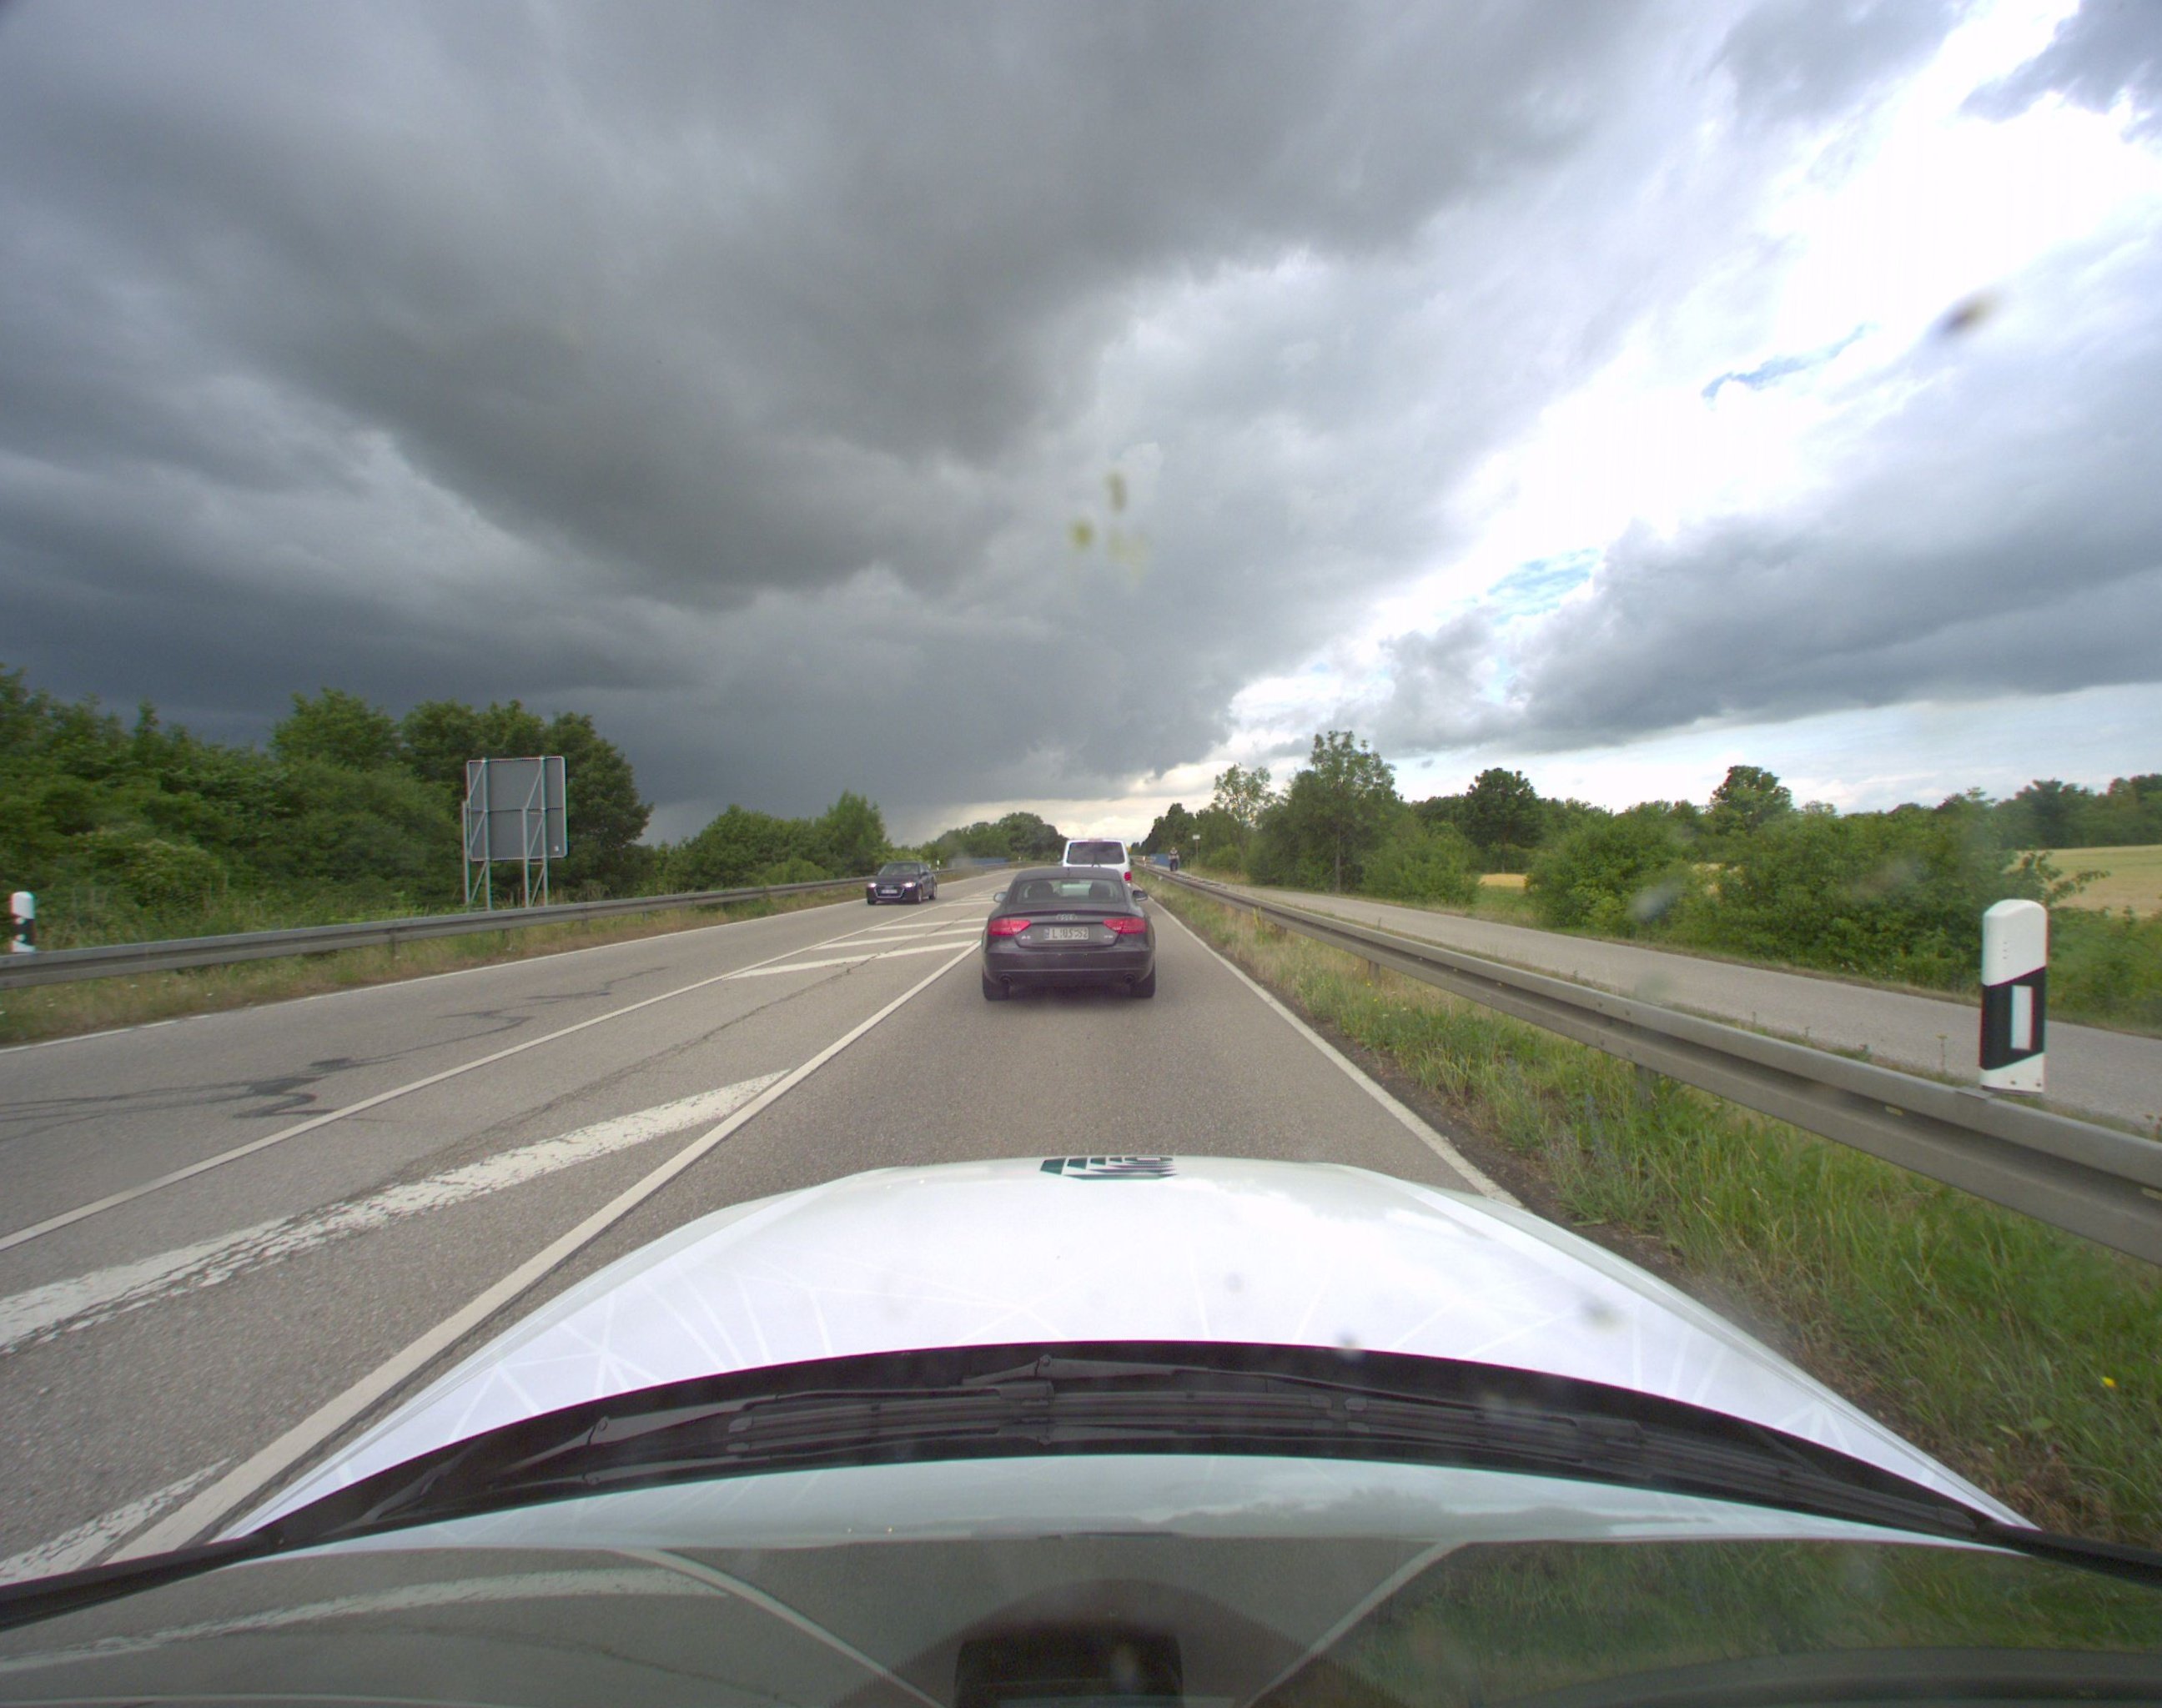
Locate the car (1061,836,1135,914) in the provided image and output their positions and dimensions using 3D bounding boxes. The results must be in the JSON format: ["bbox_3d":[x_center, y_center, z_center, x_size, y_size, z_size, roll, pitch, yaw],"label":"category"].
[{"bbox_3d":[0.462,0.540,21.950,1.779,1.890,4.001,0,-1,1],"label":"car"}]

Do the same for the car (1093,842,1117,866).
[{"bbox_3d":[2.612,0.005,88.439,2.438,2.504,5.043,0,0,2],"label":"car"}]

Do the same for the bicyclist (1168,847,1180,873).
[{"bbox_3d":[6.018,0.415,52.565,0.644,1.645,0.866,-2,-1,1],"label":"bicyclist"}]

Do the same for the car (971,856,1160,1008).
[{"bbox_3d":[-0.104,0.758,9.716,1.779,1.424,4.001,0,-1,1],"label":"car"}]

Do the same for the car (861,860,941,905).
[{"bbox_3d":[-6.103,0.932,28.084,1.856,1.376,4.000,-1,0,0],"label":"car"}]

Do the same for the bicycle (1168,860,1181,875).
[{"bbox_3d":[6.028,0.871,52.635,0.663,0.920,1.831,-2,0,1],"label":"bicycle"}]
